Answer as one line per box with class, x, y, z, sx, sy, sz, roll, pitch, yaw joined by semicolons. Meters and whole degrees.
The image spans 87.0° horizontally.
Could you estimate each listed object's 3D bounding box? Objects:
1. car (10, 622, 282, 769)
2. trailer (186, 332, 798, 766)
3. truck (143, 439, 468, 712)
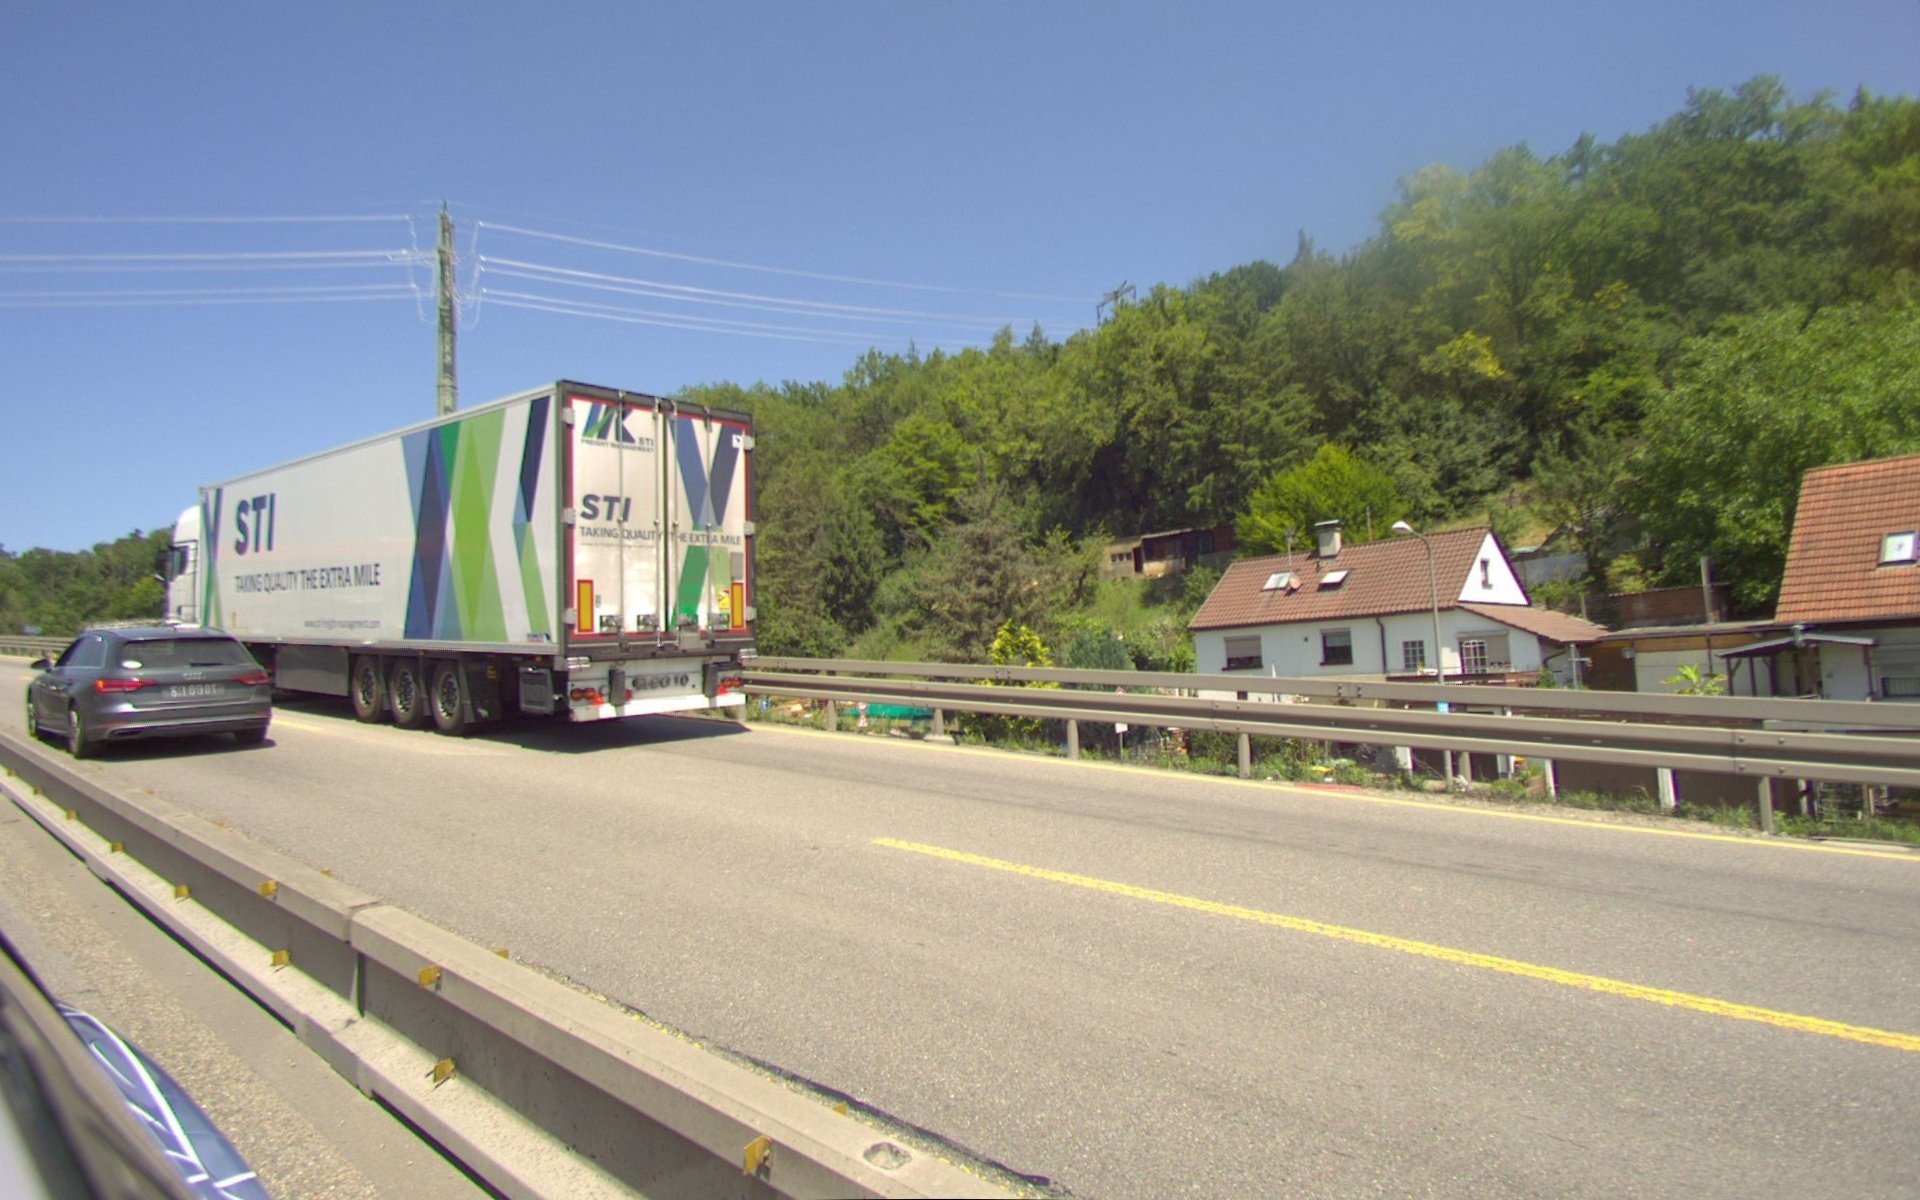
car;-10.053;1.011;12.362;4.632;1.464;1.772;-1;-2;41
trailer;-8.434;-0.444;16.074;14.048;4.411;3.219;-1;0;40
truck;-13.340;-0.354;20.260;8.296;4.395;3.269;-1;0;41
